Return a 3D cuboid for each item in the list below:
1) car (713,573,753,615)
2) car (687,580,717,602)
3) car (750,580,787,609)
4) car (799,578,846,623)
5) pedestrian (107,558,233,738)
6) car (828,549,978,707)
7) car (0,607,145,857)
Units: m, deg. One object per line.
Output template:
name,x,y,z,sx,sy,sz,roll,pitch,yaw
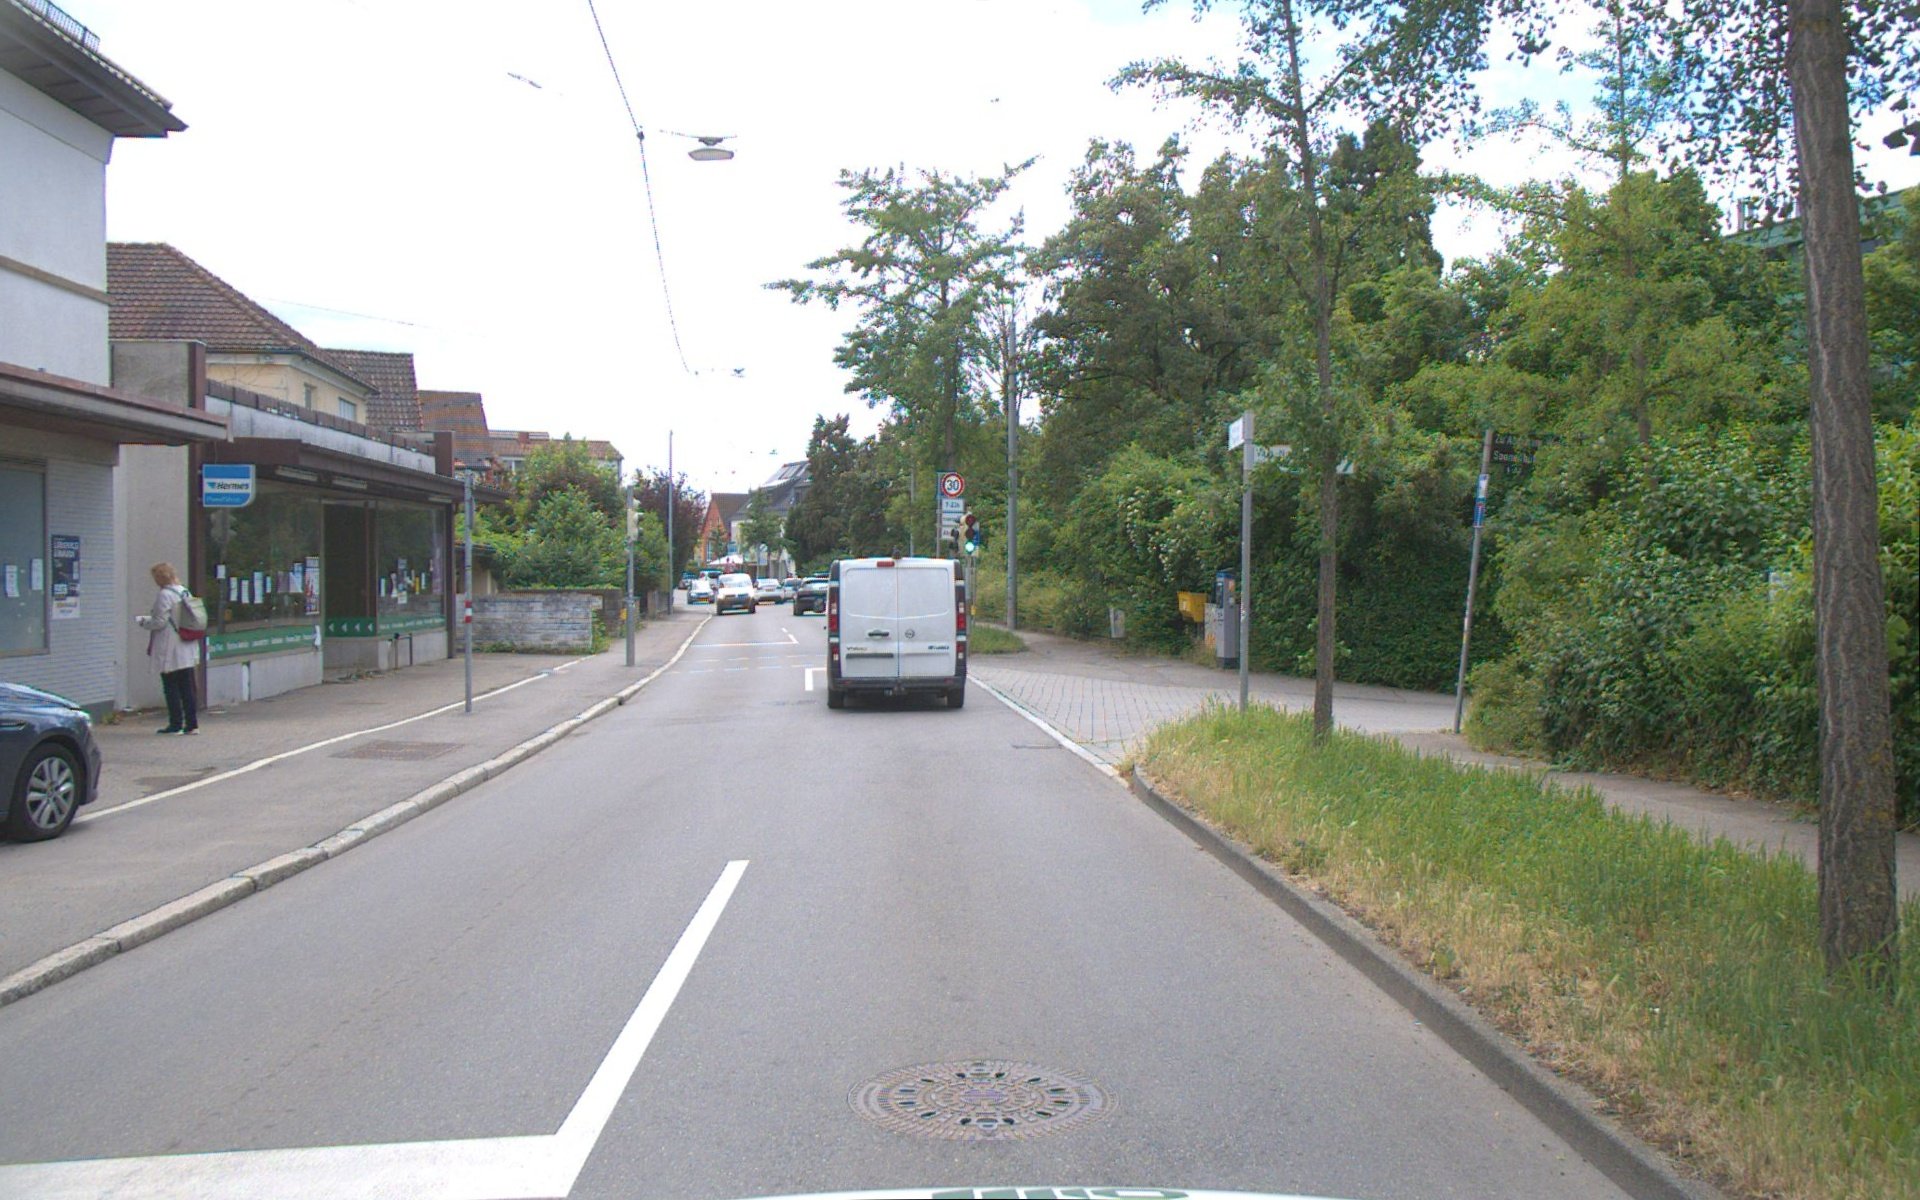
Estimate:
car,-11.340,-0.335,82.832,1.832,1.944,5.107,-3,1,-7
car,-18.553,-0.668,118.858,1.850,1.538,4.100,-2,1,-12
car,-12.242,-0.358,105.487,1.795,1.758,3.984,0,0,-15
car,-5.927,-0.007,71.821,1.859,1.892,4.402,0,0,-3
pedestrian,-8.096,0.478,16.990,0.865,1.781,0.962,1,0,-7
car,-0.834,0.346,23.145,1.891,1.998,4.399,0,0,-3
car,-6.689,0.768,9.074,1.741,1.466,4.528,2,0,7
